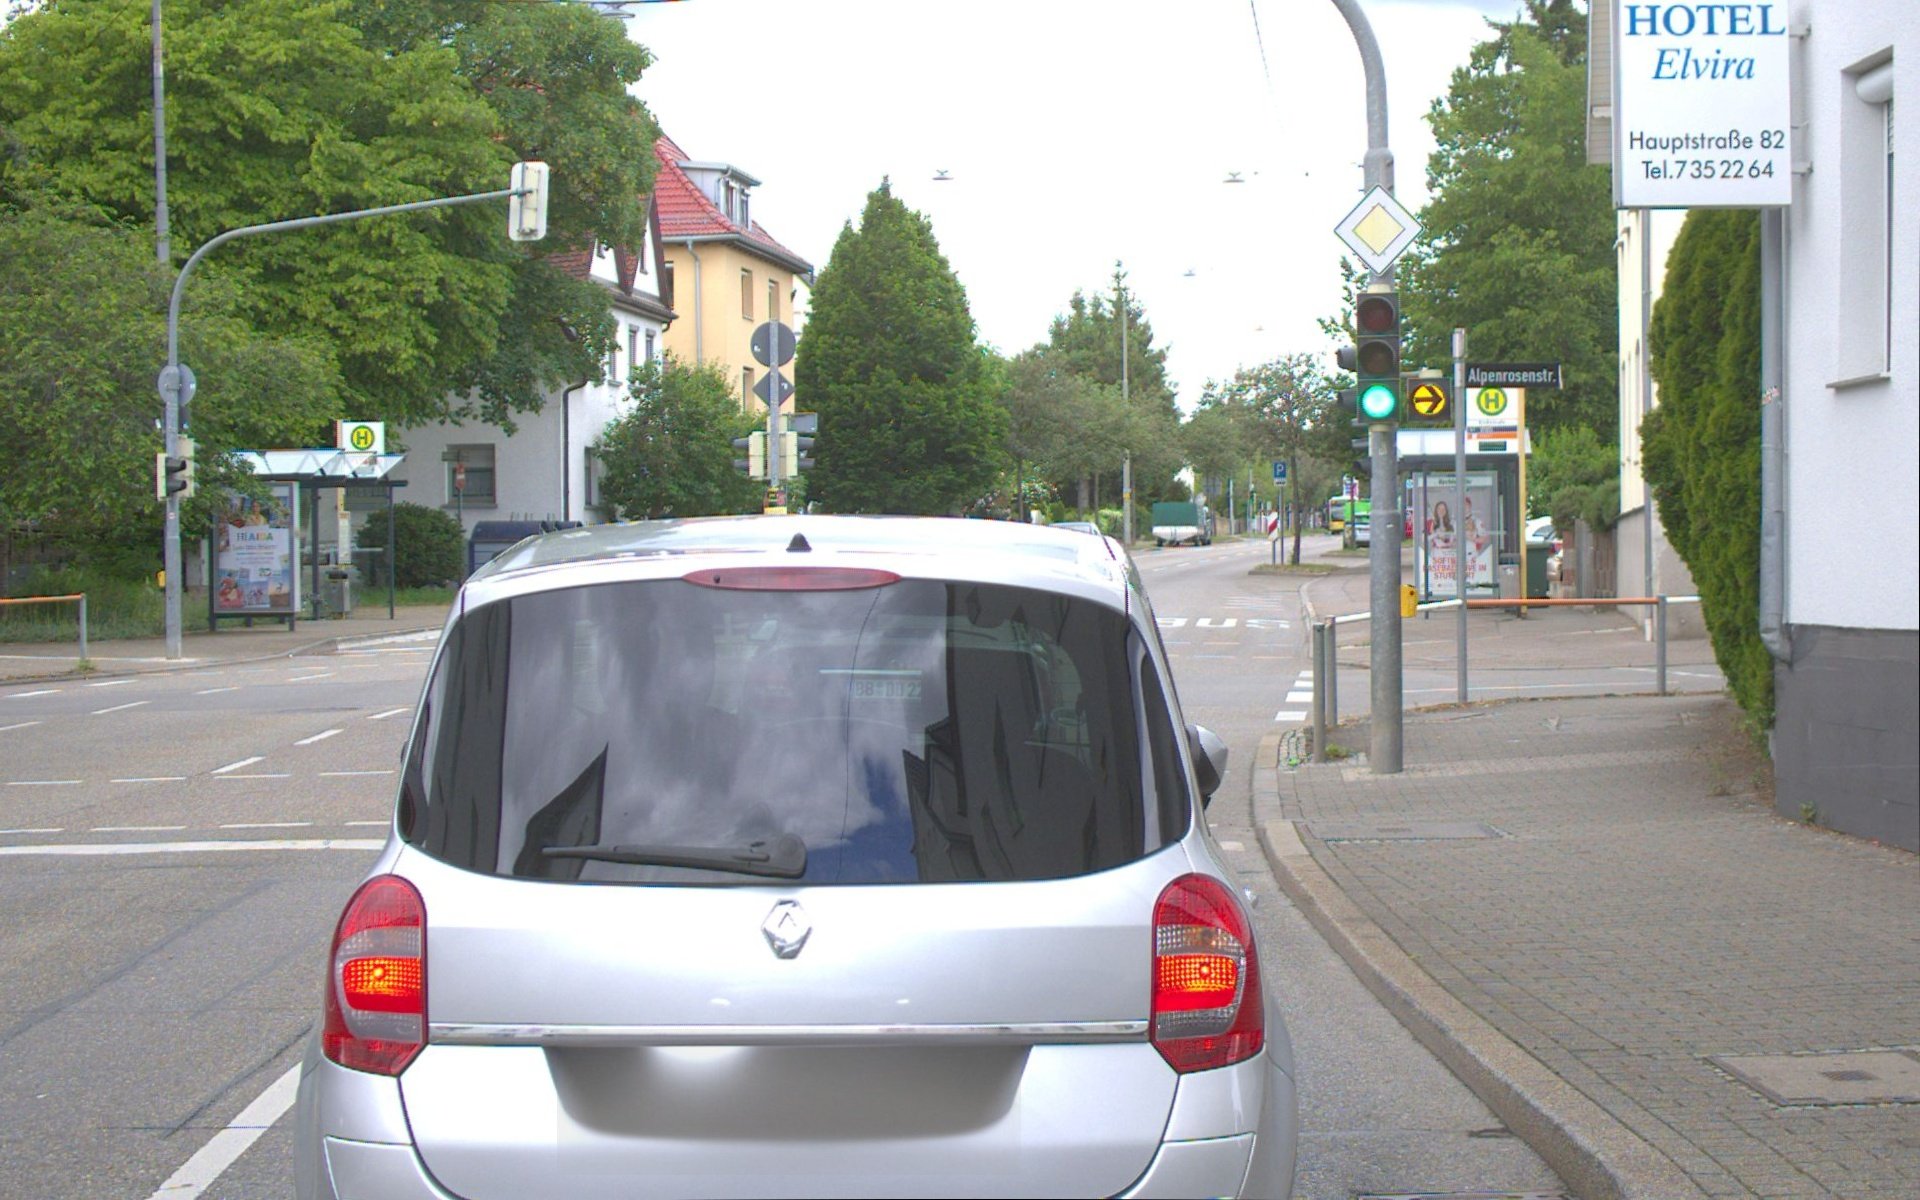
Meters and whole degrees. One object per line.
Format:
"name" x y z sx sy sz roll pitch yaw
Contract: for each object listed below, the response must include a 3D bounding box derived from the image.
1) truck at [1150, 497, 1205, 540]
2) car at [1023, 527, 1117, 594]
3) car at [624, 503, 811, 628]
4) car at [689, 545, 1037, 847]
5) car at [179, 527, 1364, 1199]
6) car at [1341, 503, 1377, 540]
"truck" 10.538 -3.921 166.418 2.102 2.007 5.745 0 1 9
"car" 2.955 -1.053 91.293 1.858 1.742 3.998 1 1 11
"car" -3.769 -0.567 54.099 1.927 1.767 3.999 -4 1 10
"car" -0.526 0.464 19.347 1.755 1.525 3.797 0 1 -1
"car" -0.316 0.635 7.115 1.755 1.525 4.000 0 1 -1
"car" 27.979 -5.490 240.921 2.060 2.503 5.593 1 1 11
